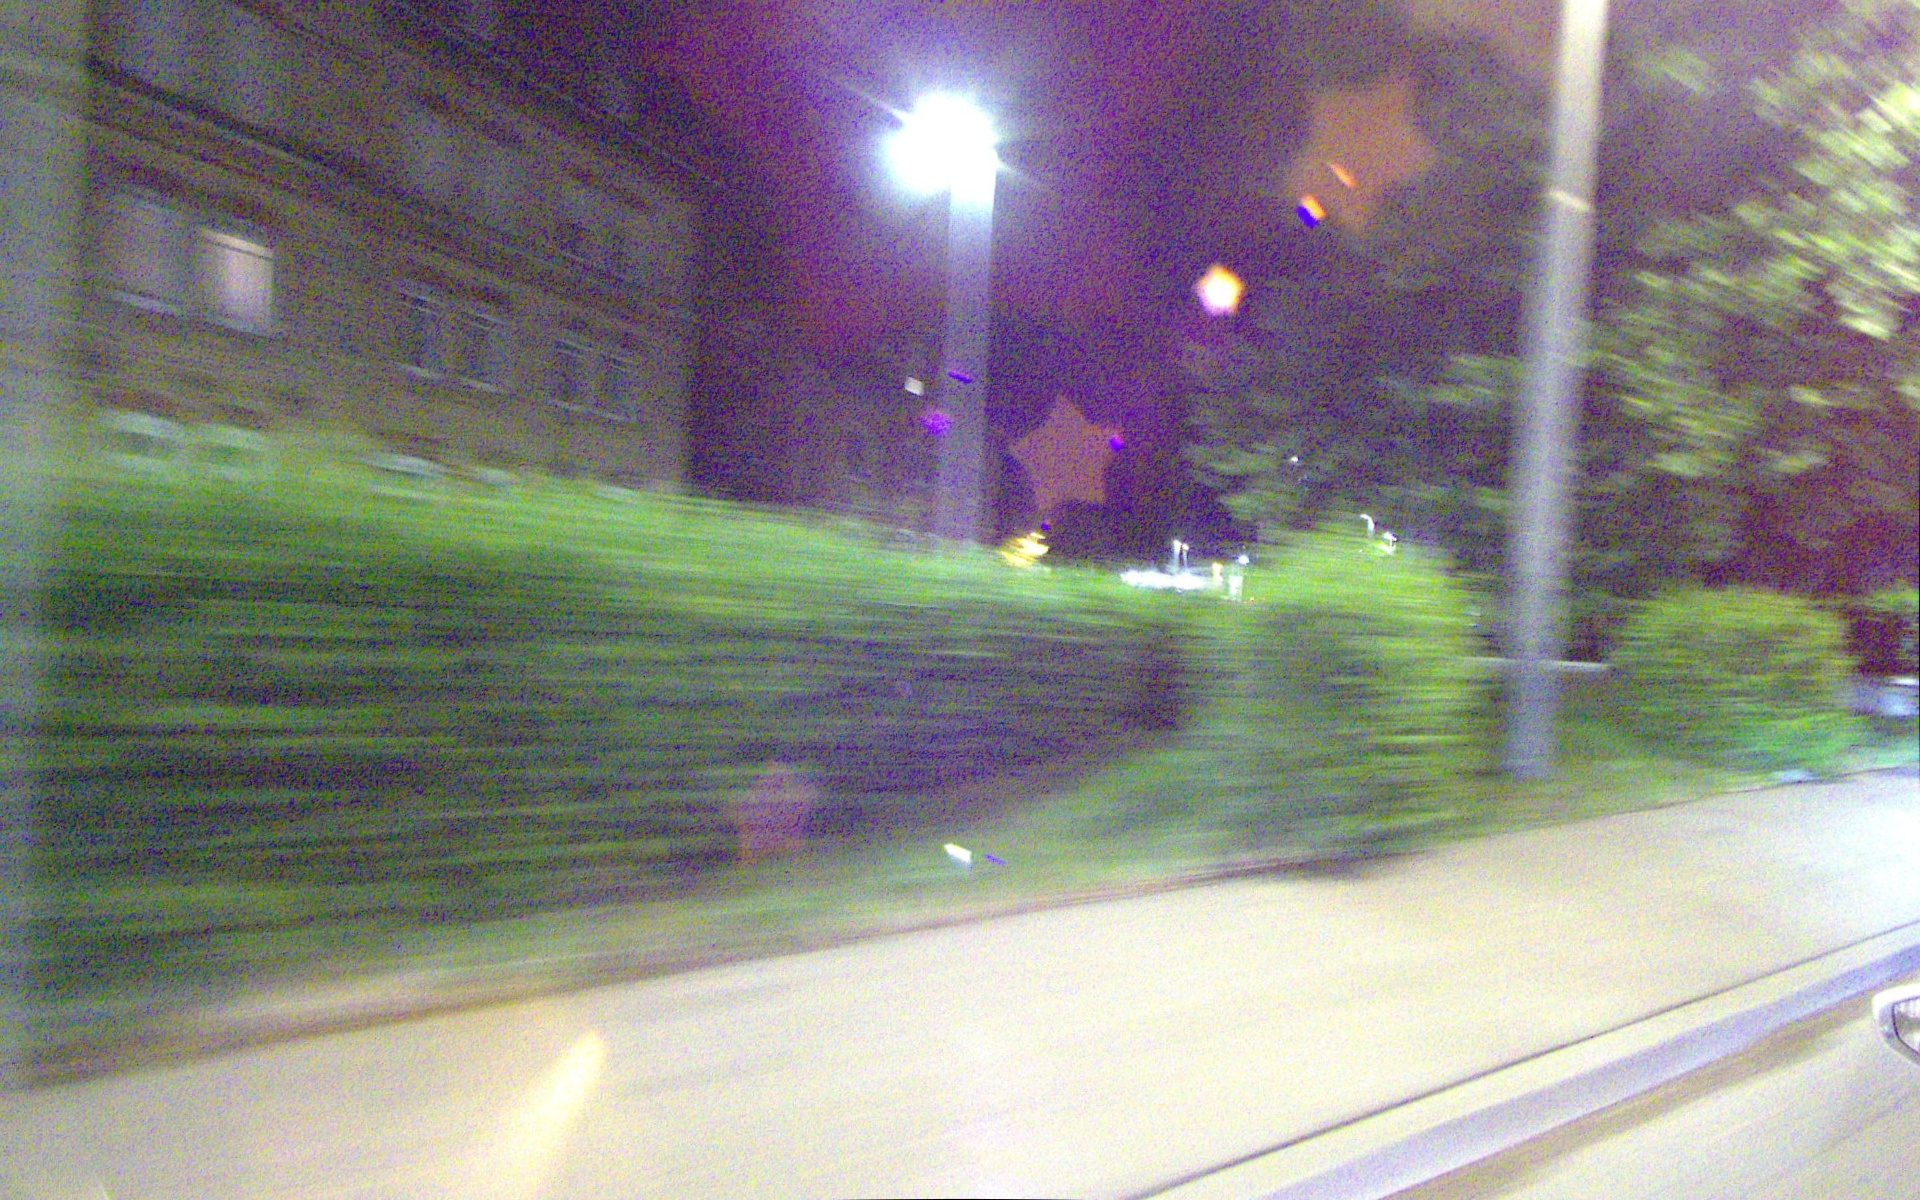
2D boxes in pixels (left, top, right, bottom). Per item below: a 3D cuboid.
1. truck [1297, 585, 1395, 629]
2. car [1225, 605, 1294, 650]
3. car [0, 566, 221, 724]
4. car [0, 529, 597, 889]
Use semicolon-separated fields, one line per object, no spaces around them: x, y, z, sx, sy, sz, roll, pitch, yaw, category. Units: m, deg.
29.163;0.501;75.858;6.670;2.882;1.998;3;2;25;truck
10.926;0.953;36.502;1.731;1.464;4.021;2;1;26;car
-10.216;0.409;9.701;1.808;1.527;4.741;2;0;21;car
-4.511;0.500;6.126;1.856;1.624;4.100;1;0;29;car
